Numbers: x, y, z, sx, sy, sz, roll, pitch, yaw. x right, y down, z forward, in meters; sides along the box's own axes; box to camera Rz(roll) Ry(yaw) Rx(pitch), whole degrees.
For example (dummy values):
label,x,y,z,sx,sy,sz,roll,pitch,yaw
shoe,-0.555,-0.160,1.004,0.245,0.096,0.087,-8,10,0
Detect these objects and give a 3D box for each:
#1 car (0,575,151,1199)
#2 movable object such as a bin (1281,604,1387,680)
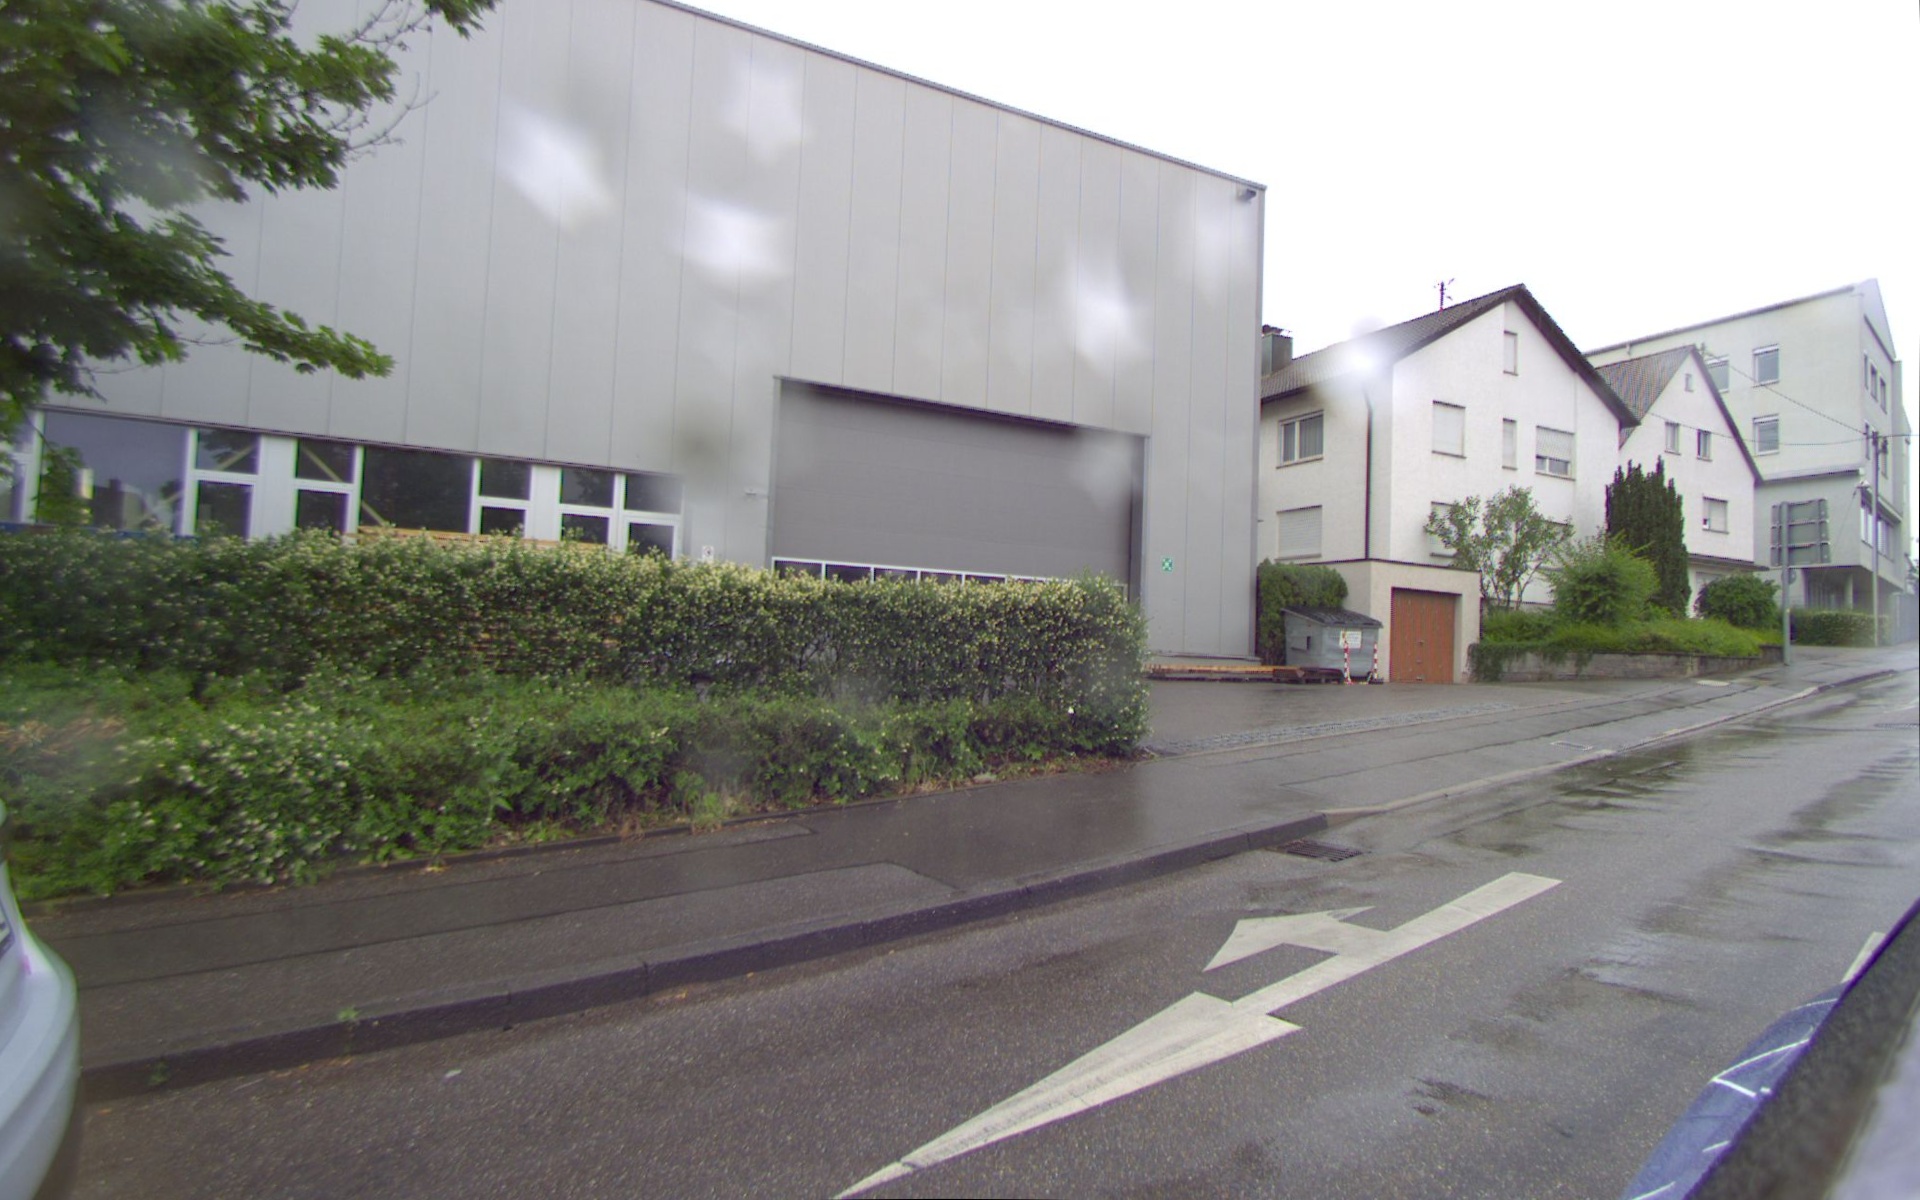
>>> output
label,x,y,z,sx,sy,sz,roll,pitch,yaw
car,-3.258,0.695,0.820,3.829,1.574,1.695,2,-1,-32
movable object such as a bin,8.062,0.884,21.866,1.556,1.555,1.451,2,-1,-25
